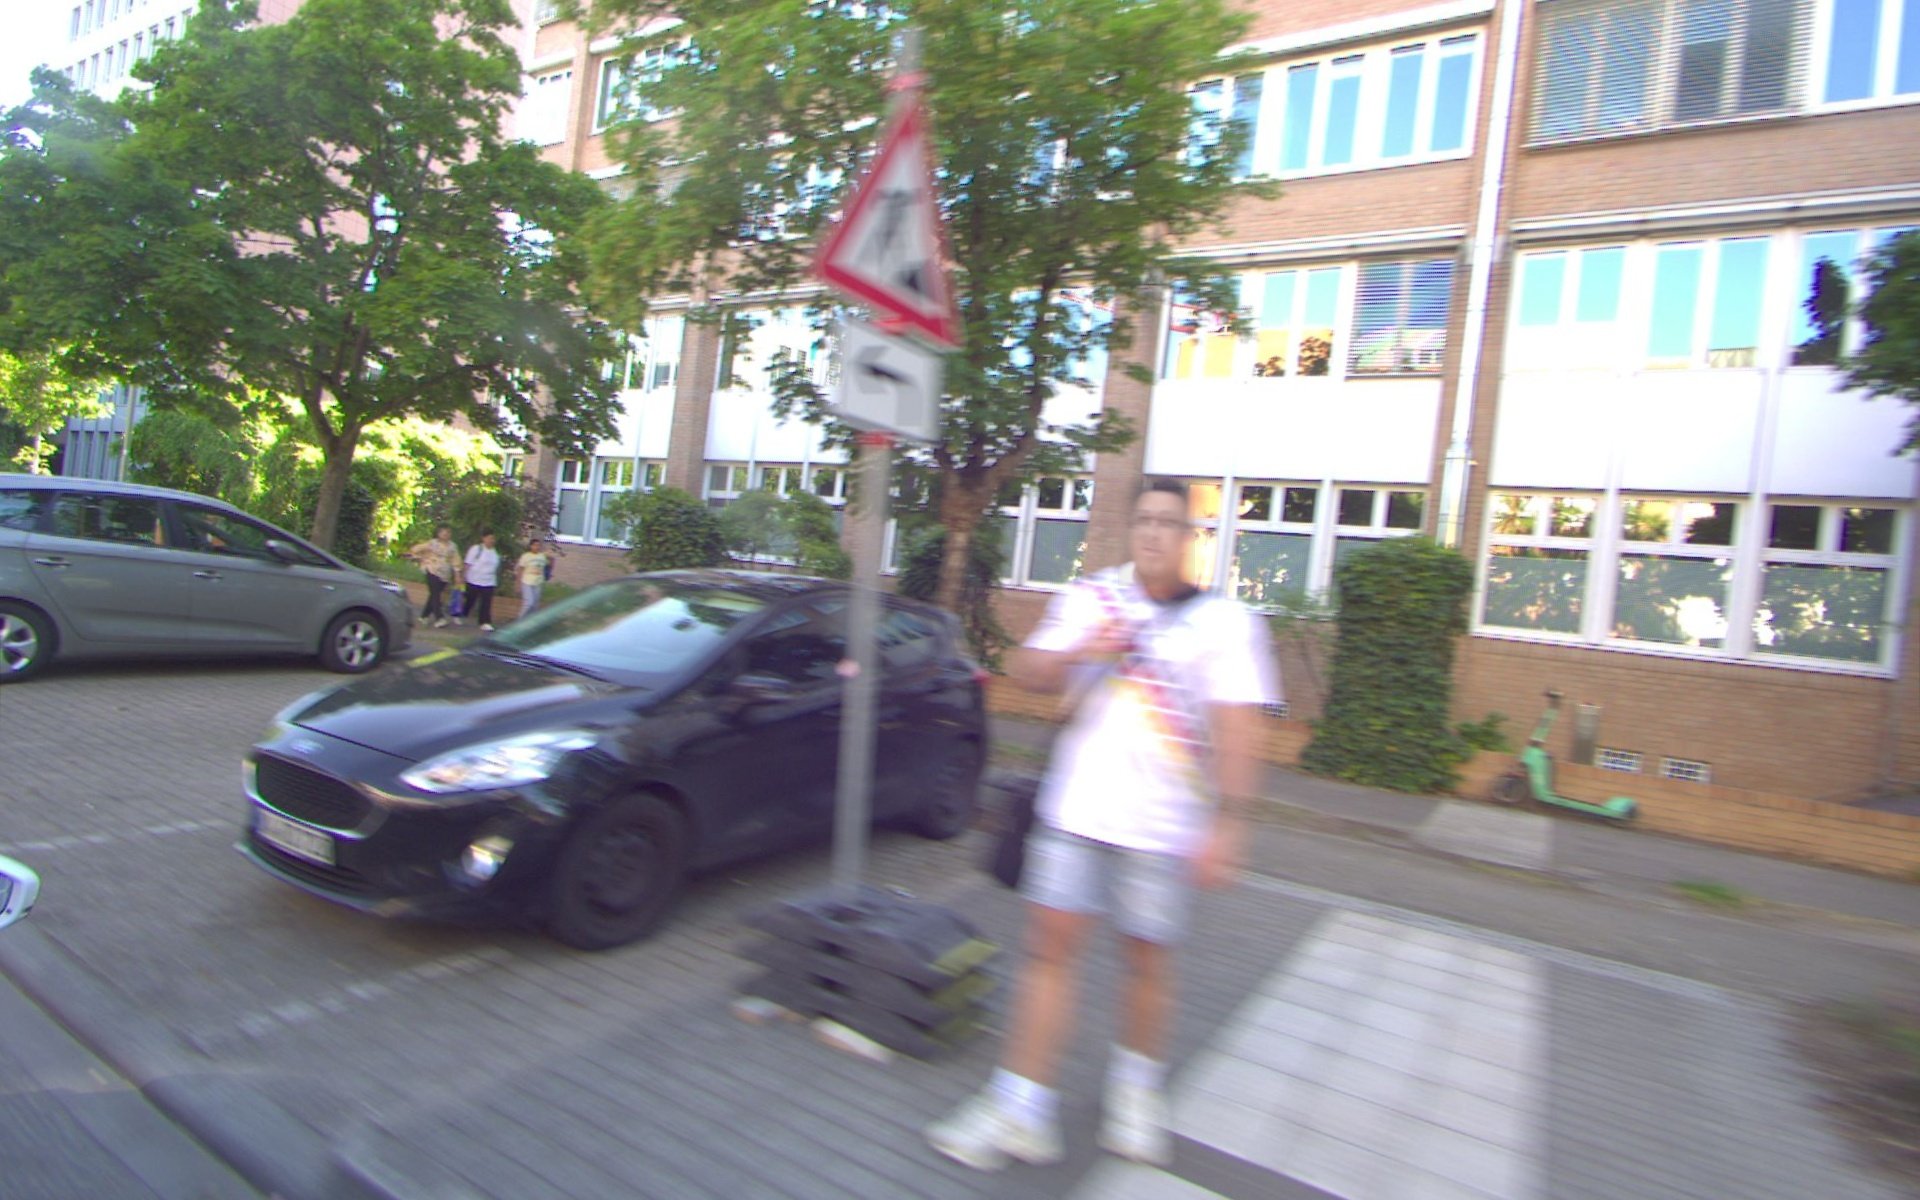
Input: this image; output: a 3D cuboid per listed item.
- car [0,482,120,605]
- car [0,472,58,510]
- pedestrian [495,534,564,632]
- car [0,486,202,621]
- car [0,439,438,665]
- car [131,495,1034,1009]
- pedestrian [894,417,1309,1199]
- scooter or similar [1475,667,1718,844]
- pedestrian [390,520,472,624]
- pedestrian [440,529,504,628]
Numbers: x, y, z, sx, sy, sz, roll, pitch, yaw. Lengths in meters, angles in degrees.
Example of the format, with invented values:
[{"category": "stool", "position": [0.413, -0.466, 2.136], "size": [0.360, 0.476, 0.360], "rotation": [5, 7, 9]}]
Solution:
[{"category": "car", "position": [-13.438, -0.858, 12.763], "size": [1.794, 1.503, 3.849], "rotation": [8, 2, 30]}, {"category": "car", "position": [-58.011, -6.794, 61.181], "size": [1.965, 1.802, 4.085], "rotation": [7, -3, 27]}, {"category": "pedestrian", "position": [-7.310, -0.281, 17.116], "size": [0.549, 1.572, 0.757], "rotation": [7, 1, 29]}, {"category": "car", "position": [-11.204, -0.591, 11.373], "size": [1.672, 1.427, 3.806], "rotation": [7, 2, 26]}, {"category": "car", "position": [-7.280, -0.368, 8.903], "size": [1.905, 1.617, 4.363], "rotation": [7, -1, 25]}, {"category": "car", "position": [-1.381, 0.553, 5.104], "size": [1.745, 1.456, 3.939], "rotation": [7, -1, 32]}, {"category": "pedestrian", "position": [0.405, 0.509, 2.538], "size": [0.685, 1.734, 0.919], "rotation": [7, 3, 18]}, {"category": "scooter or similar", "position": [5.969, 1.429, 9.557], "size": [1.774, 1.340, 0.550], "rotation": [7, -2, 26]}, {"category": "pedestrian", "position": [-8.201, -0.434, 15.615], "size": [0.703, 1.476, 0.701], "rotation": [9, 2, 29]}, {"category": "pedestrian", "position": [-7.950, -0.342, 16.392], "size": [0.584, 1.539, 0.603], "rotation": [5, 0, 29]}]
